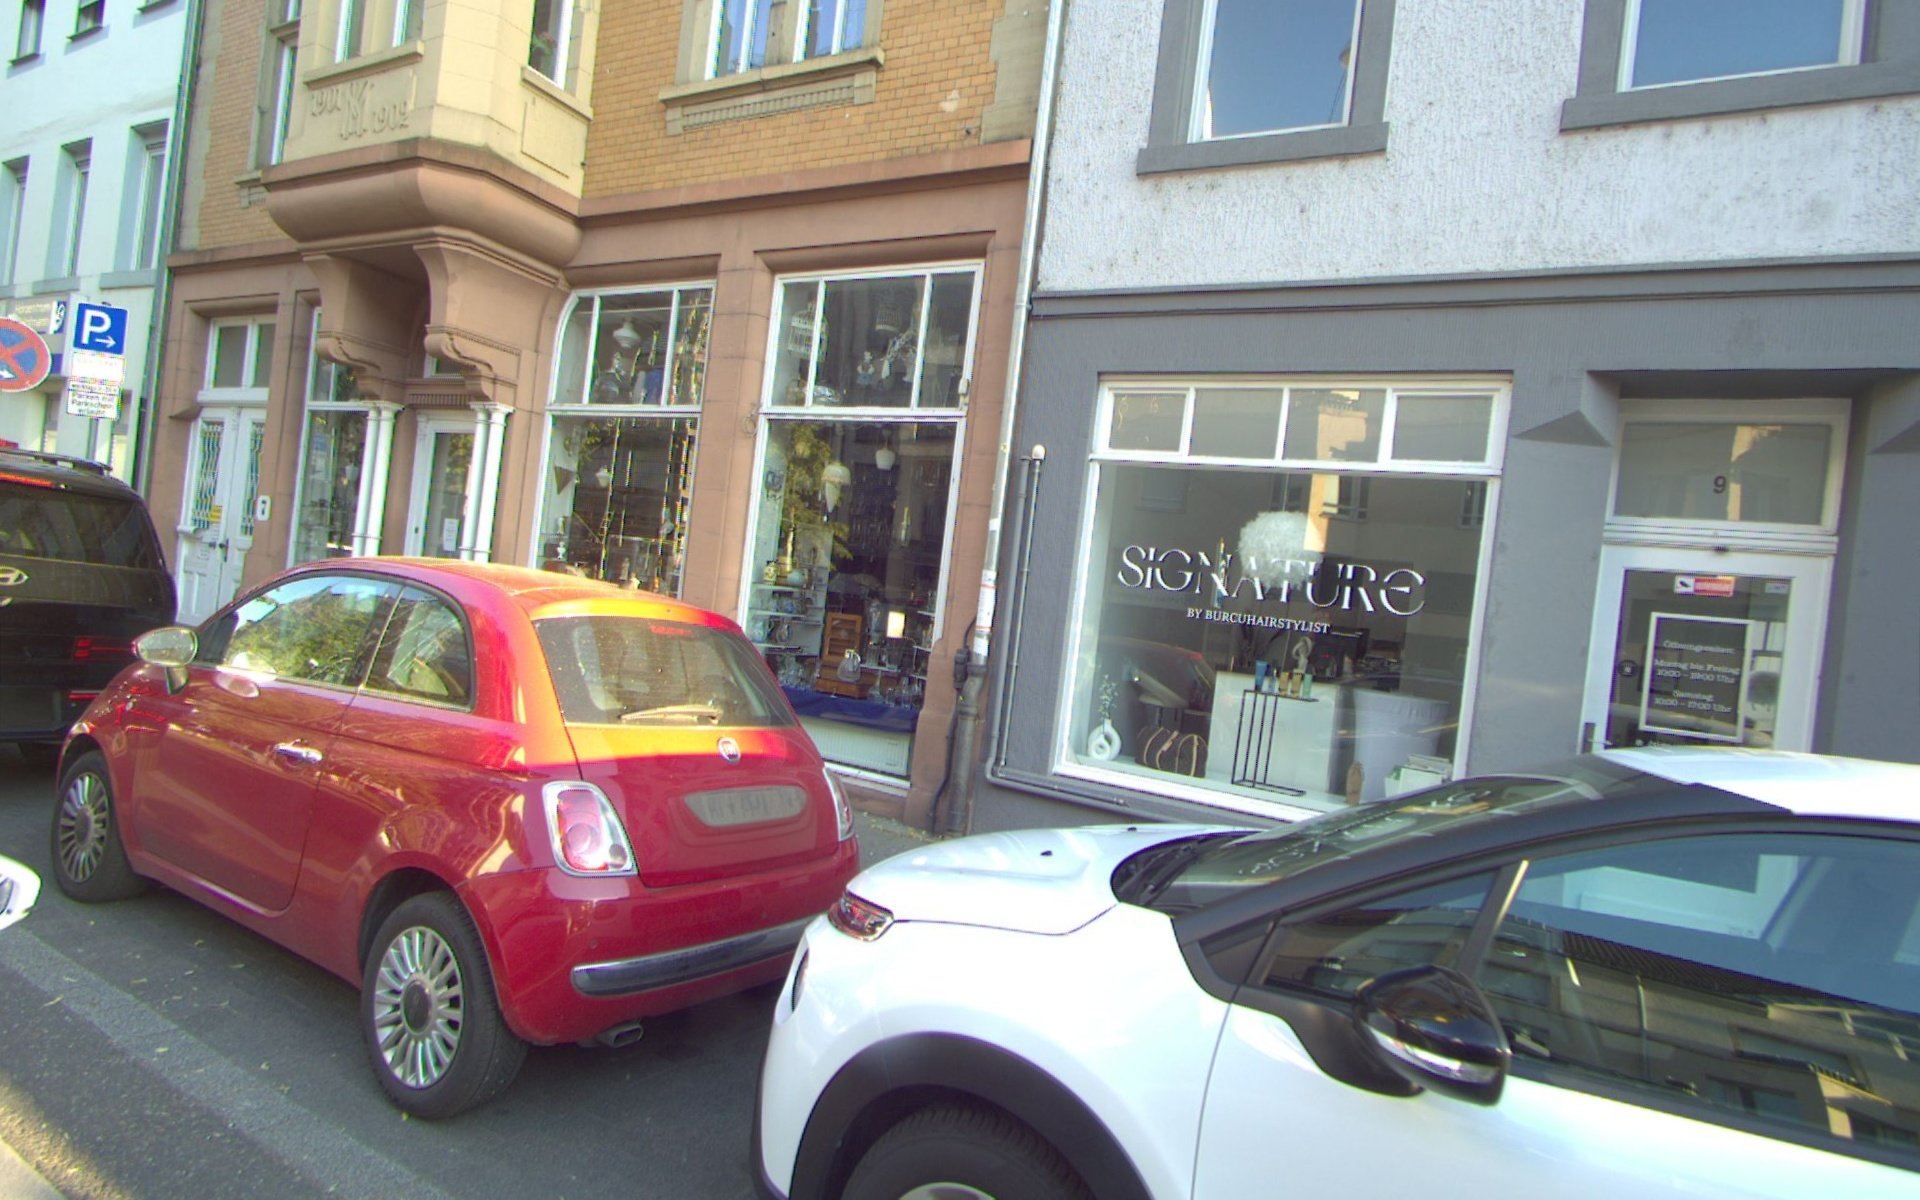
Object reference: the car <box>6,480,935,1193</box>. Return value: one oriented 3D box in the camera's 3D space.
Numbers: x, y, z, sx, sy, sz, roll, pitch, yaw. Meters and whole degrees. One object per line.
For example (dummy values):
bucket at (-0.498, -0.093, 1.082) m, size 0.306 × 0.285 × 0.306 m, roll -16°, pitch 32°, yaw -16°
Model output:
car at (-2.003, 0.531, 3.925) m, size 3.364 × 1.588 × 1.529 m, roll 7°, pitch -1°, yaw 31°

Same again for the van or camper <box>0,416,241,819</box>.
van or camper at (-6.338, -0.140, 5.438) m, size 4.380 × 1.829 × 1.895 m, roll 7°, pitch -1°, yaw 24°

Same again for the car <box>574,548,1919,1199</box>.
car at (1.303, 0.942, 1.951) m, size 3.868 × 1.591 × 1.665 m, roll 6°, pitch -2°, yaw 30°
